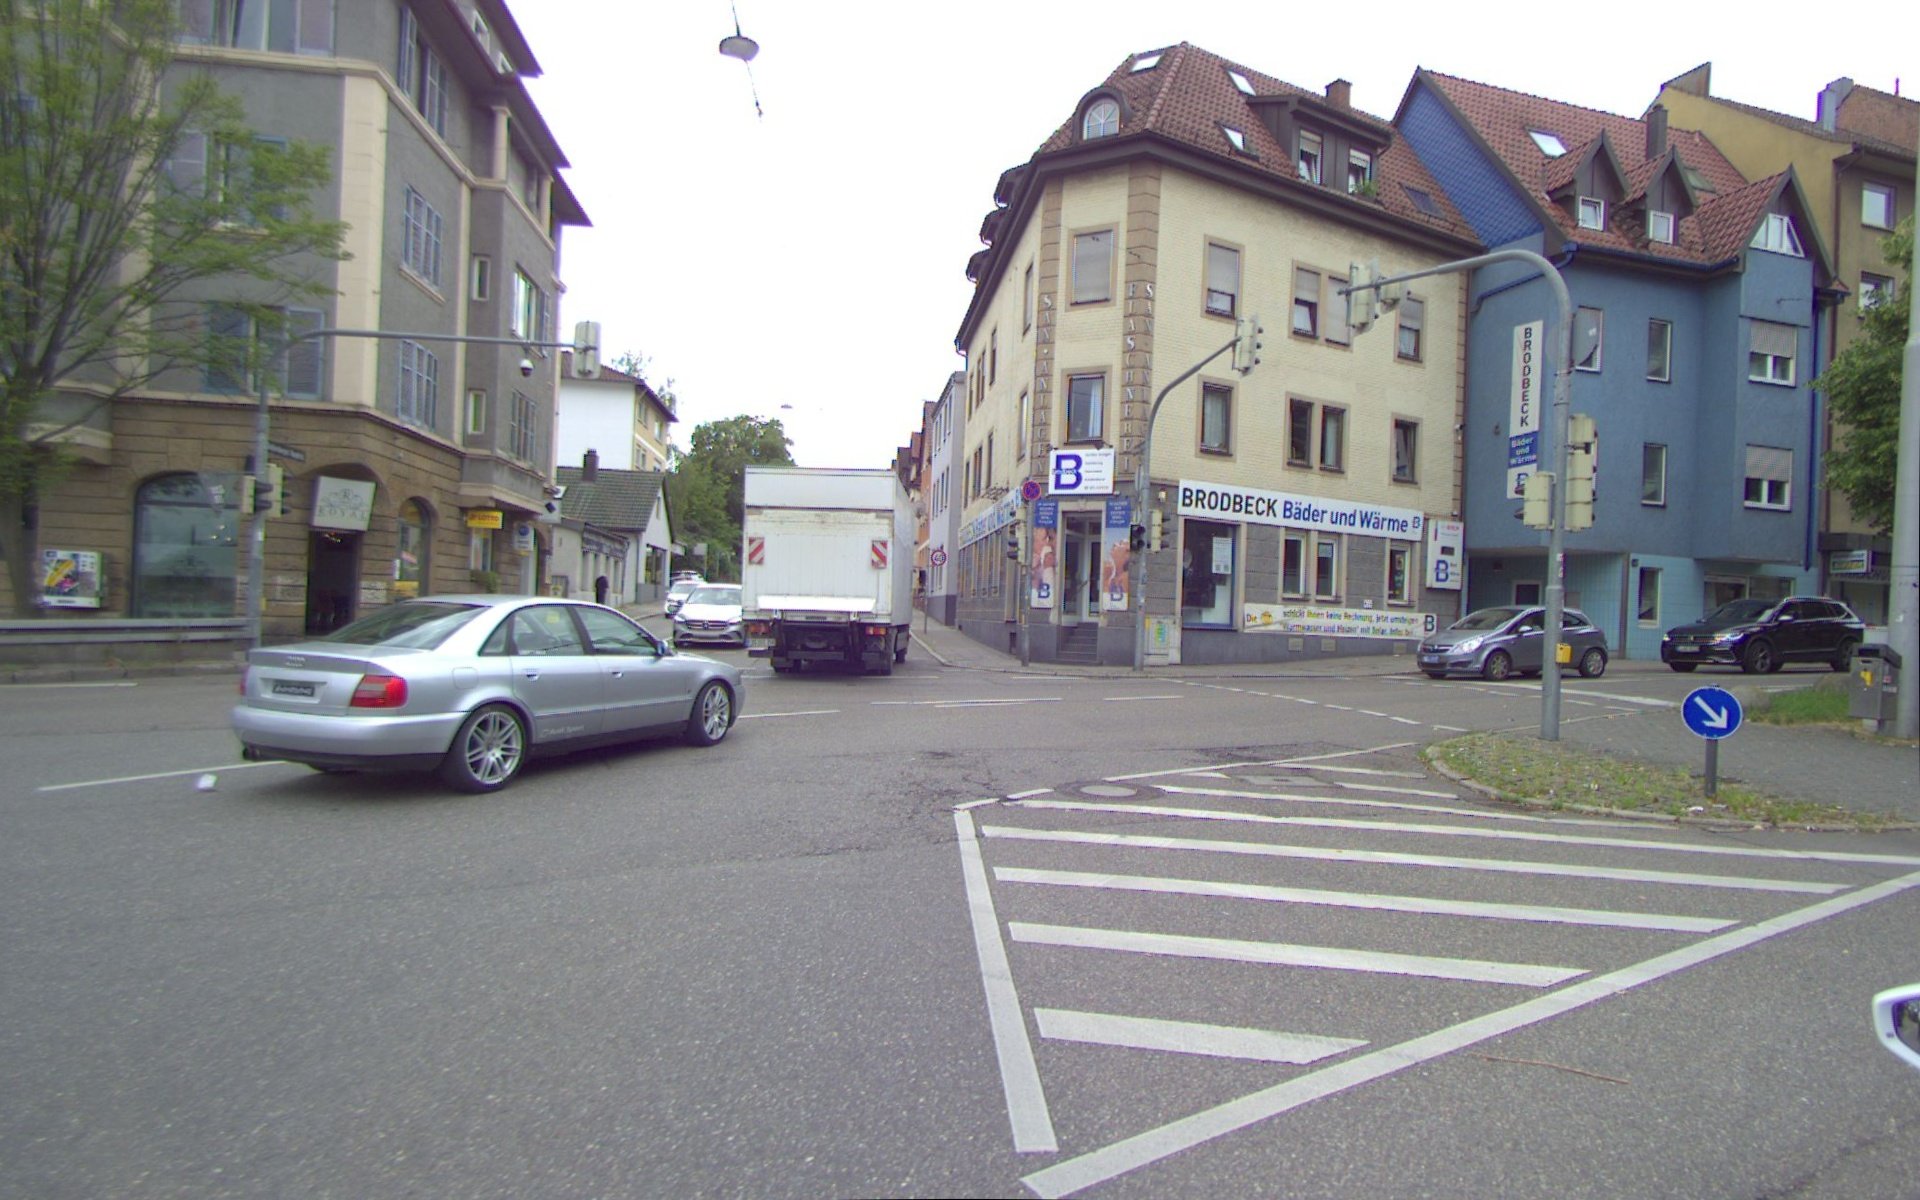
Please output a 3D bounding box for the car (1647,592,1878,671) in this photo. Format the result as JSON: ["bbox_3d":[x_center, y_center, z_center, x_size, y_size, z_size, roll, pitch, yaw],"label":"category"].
[{"bbox_3d":[18.016,0.736,22.575,4.605,1.658,1.815,1,-2,-18],"label":"car"}]

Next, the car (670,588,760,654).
[{"bbox_3d":[-6.173,0.489,25.693,1.621,1.493,4.050,2,0,-6],"label":"car"}]

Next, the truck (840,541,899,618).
[{"bbox_3d":[-4.685,-0.962,51.444,2.660,3.486,8.506,2,0,-6],"label":"truck"}]

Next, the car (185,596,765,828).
[{"bbox_3d":[-3.580,0.671,8.356,1.675,1.360,4.264,2,1,24],"label":"car"}]

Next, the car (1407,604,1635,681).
[{"bbox_3d":[11.376,0.814,20.384,4.228,1.425,1.667,0,-1,-19],"label":"car"}]

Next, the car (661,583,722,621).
[{"bbox_3d":[-10.967,0.078,41.254,1.762,1.449,3.958,2,0,-6],"label":"car"}]

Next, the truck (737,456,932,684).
[{"bbox_3d":[-2.174,-0.482,20.687,2.657,3.622,8.515,2,0,1],"label":"truck"}]
